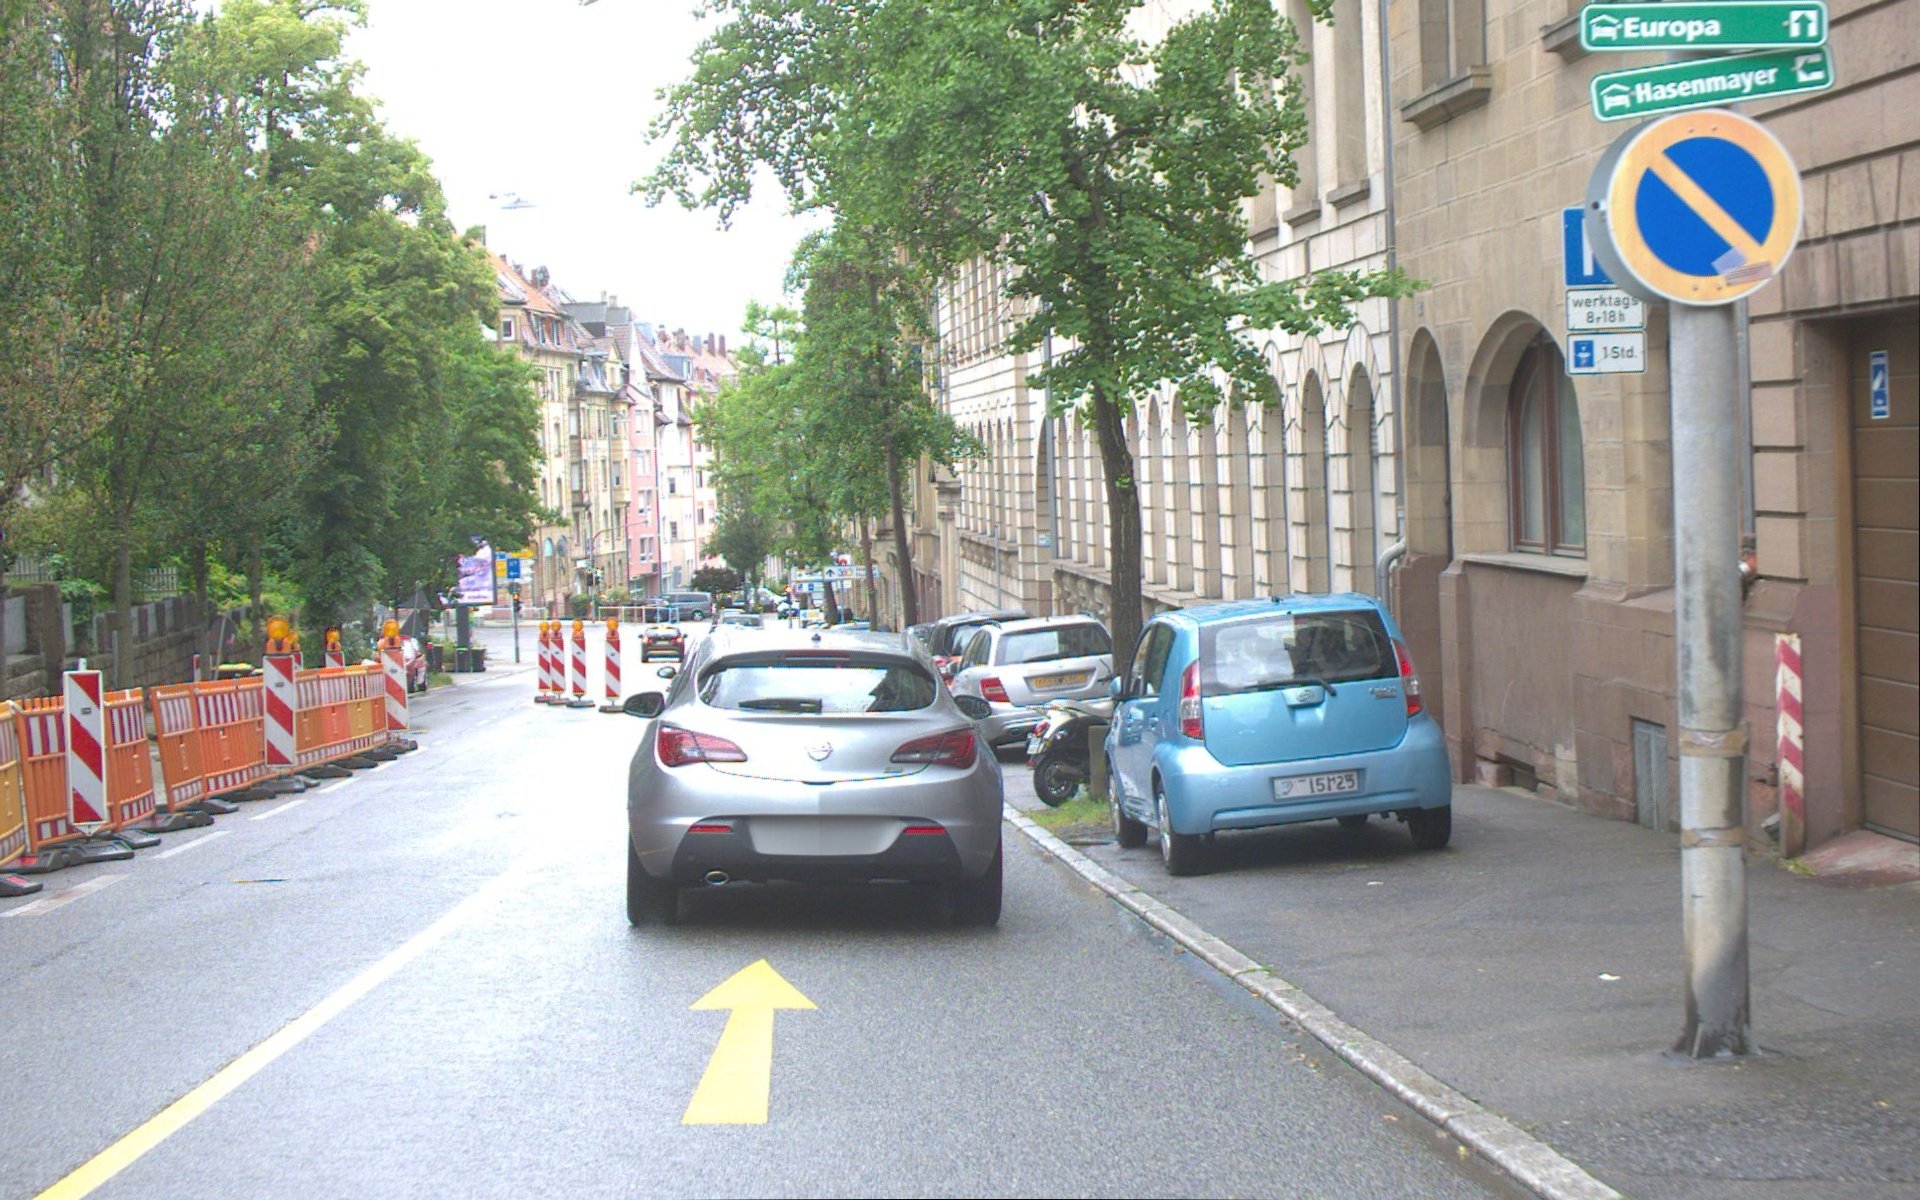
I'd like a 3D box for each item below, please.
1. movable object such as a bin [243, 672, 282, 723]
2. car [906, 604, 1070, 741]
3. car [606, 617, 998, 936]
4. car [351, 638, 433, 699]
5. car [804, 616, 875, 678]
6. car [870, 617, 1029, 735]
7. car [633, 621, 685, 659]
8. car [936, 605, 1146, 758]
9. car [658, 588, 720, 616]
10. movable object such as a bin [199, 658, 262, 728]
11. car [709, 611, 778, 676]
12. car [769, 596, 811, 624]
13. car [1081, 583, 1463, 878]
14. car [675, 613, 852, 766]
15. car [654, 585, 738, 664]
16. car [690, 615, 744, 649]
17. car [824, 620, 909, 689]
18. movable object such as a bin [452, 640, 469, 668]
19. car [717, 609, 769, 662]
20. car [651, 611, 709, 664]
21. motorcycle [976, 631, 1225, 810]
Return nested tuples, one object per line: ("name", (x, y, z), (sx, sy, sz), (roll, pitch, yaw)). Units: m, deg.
("movable object such as a bin", (-12.669, 1.763, 62.474), (0.604, 0.904, 0.624), (0, 0, -3))
("car", (0.312, 0.875, 42.699), (1.638, 1.515, 3.184), (-4, 0, -5))
("car", (-0.781, 0.827, 17.891), (1.811, 1.444, 3.869), (0, 0, -1))
("car", (-14.620, 1.751, 88.693), (1.637, 1.434, 4.080), (-2, 0, -4))
("car", (-3.357, 1.285, 95.200), (1.637, 1.597, 3.858), (-2, 0, -6))
("car", (-0.198, 1.041, 48.716), (1.757, 1.456, 4.724), (-4, 0, -5))
("car", (-12.403, 1.658, 141.550), (1.993, 1.495, 4.001), (-1, -1, -6))
("car", (0.814, 0.841, 37.312), (1.695, 1.426, 4.423), (-4, 0, -5))
("car", (-17.600, 0.117, 223.319), (3.986, 1.744, 2.000), (1, -1, -4))
("movable object such as a bin", (-12.745, 1.623, 60.090), (0.944, 1.210, 0.856), (0, 0, -3))
("car", (-5.615, 1.126, 88.848), (1.656, 1.538, 3.666), (-4, 0, -4))
("car", (-10.586, 0.640, 214.039), (1.994, 1.678, 3.999), (1, -1, 6))
("car", (1.806, 0.742, 21.011), (1.656, 1.538, 3.666), (-4, 0, -4))
("car", (-2.087, 0.903, 36.427), (1.772, 1.499, 3.869), (0, 0, -3))
("car", (-5.682, 0.534, 73.728), (1.656, 1.538, 3.666), (-4, 0, -5))
("car", (-12.224, 1.612, 173.207), (1.994, 1.678, 3.999), (1, -1, 6))
("car", (-2.066, 1.173, 75.291), (1.637, 1.424, 3.377), (-2, 0, -4))
("movable object such as a bin", (-19.063, 2.050, 131.206), (0.625, 1.055, 0.720), (1, -1, -10))
("car", (-7.966, 1.298, 126.085), (1.715, 1.776, 3.666), (-5, 0, -4))
("car", (-8.697, 1.162, 107.003), (1.656, 1.538, 3.666), (-4, 0, -4))
("motorcycle", (1.113, 0.925, 26.882), (1.933, 1.231, 0.657), (-4, 1, -40))
